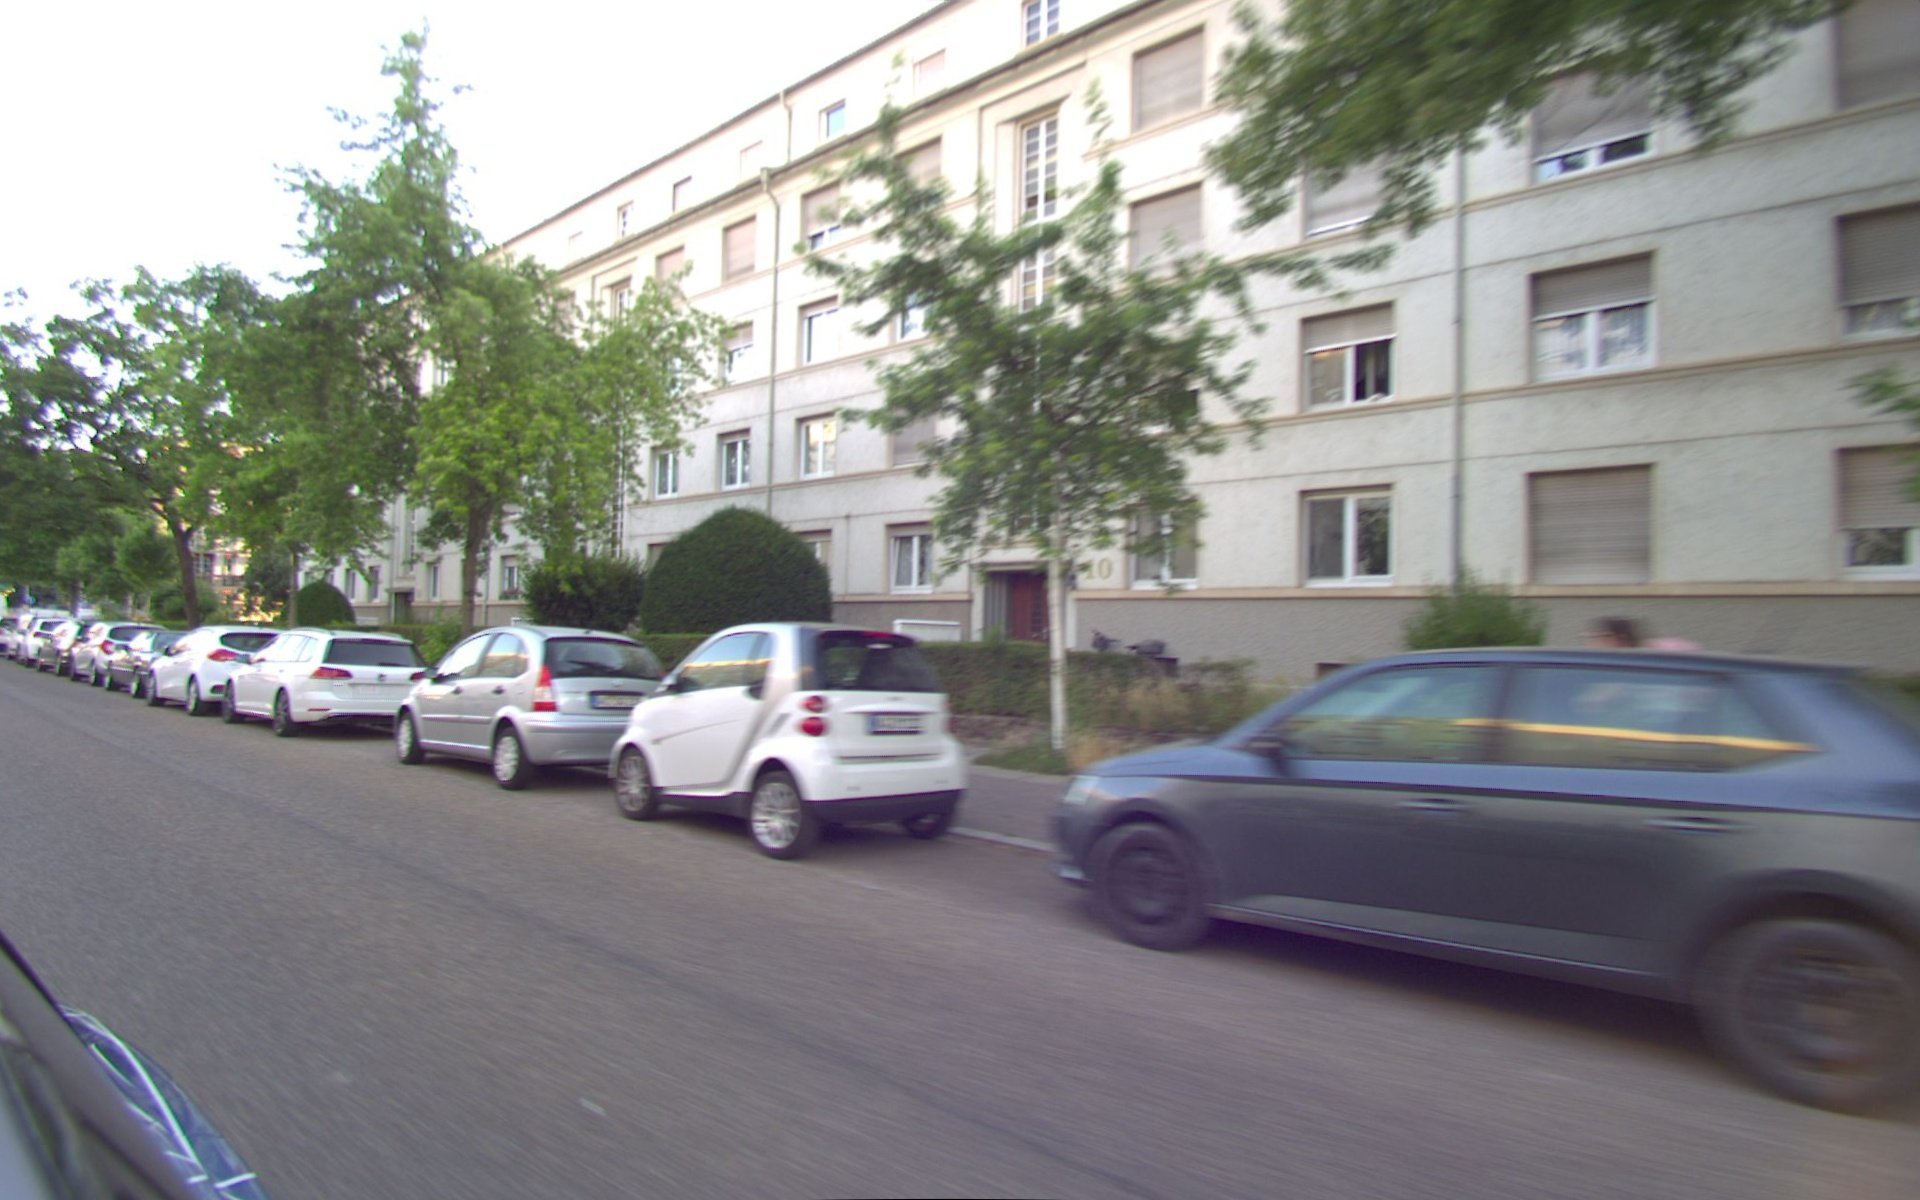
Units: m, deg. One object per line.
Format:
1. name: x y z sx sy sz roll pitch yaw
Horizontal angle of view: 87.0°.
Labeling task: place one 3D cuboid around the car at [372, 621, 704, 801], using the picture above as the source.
1. car: -4.474 1.042 10.487 3.797 1.516 1.573 -1 -6 41

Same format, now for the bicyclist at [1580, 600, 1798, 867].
1. bicyclist: 4.331 0.725 6.017 0.973 1.415 0.799 -1 -2 41

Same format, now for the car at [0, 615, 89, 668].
1. car: -31.220 1.387 34.373 4.104 1.644 1.734 -1 -6 40

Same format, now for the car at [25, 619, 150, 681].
1. car: -23.885 1.351 27.643 4.674 1.491 1.735 -1 -6 40

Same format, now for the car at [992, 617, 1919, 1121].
1. car: 2.267 0.883 4.558 4.098 1.477 1.574 -1 -6 40

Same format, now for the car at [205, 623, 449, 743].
1. car: -9.250 1.134 14.641 4.481 1.471 1.674 -1 -6 41

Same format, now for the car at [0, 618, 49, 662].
1. car: -35.490 1.463 37.756 4.223 1.483 1.733 -1 -6 43

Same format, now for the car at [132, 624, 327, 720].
1. car: -12.855 1.222 17.721 4.141 1.471 1.675 -1 -6 40

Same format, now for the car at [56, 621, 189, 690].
1. car: -20.153 1.309 24.308 3.701 1.471 1.658 -1 -6 39

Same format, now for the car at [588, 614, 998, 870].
1. car: -1.353 0.948 7.723 2.921 1.540 1.572 -1 -6 43

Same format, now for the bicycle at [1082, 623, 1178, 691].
1. bicycle: 3.228 1.068 19.346 1.817 1.240 0.550 -1 -3 44

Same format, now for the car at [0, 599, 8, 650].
1. car: -49.771 1.149 50.777 6.100 2.480 2.156 -1 -6 41

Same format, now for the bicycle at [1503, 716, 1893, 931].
1. bicycle: 4.284 1.224 5.982 1.761 0.918 0.799 -1 -2 41

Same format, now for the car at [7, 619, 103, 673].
1. car: -27.924 1.409 31.195 3.944 1.491 1.733 -1 -6 43

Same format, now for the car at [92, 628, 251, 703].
1. car: -16.541 1.342 21.158 4.577 1.342 1.657 -1 -6 41

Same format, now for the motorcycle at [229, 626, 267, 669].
1. motorcycle: -23.159 1.530 32.907 1.828 1.335 0.580 -1 -3 42
